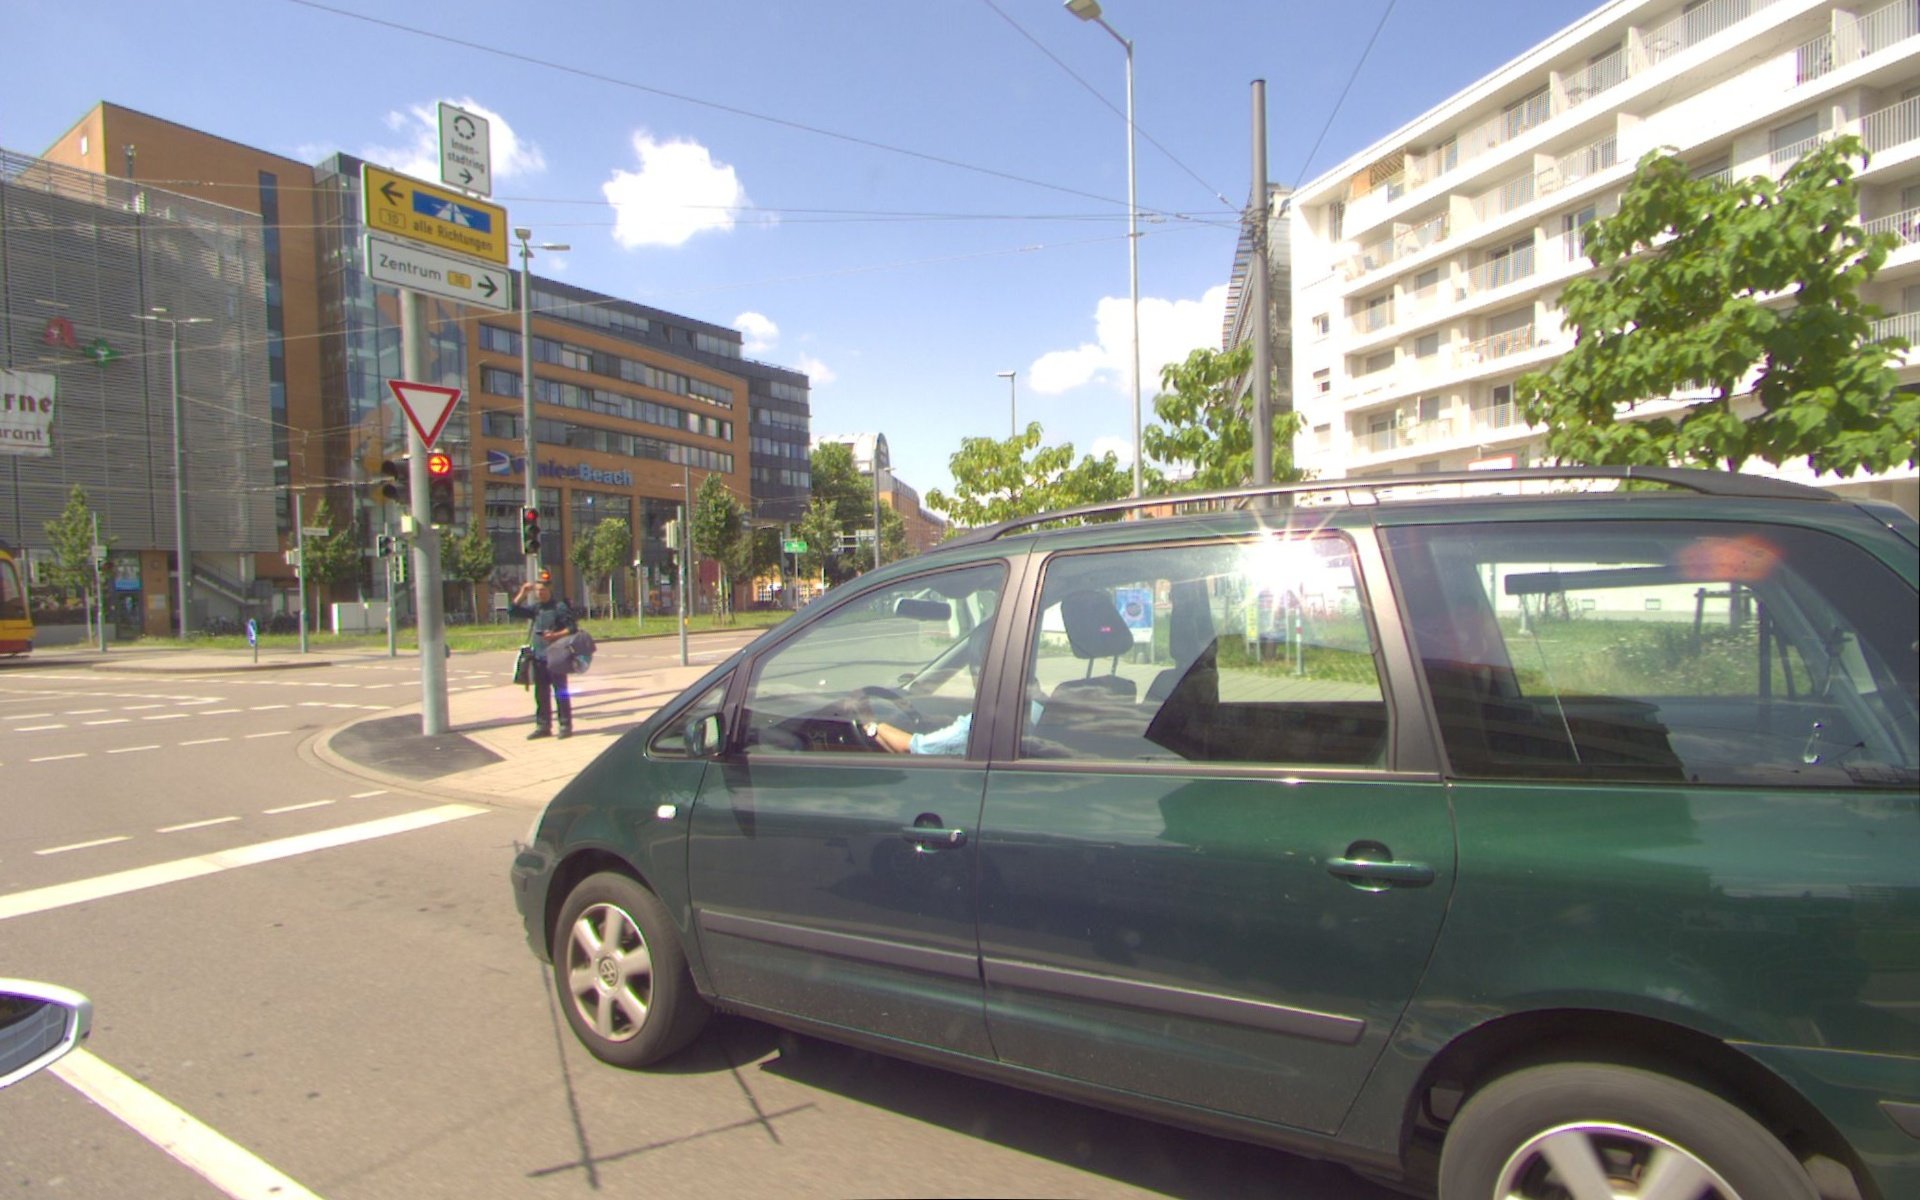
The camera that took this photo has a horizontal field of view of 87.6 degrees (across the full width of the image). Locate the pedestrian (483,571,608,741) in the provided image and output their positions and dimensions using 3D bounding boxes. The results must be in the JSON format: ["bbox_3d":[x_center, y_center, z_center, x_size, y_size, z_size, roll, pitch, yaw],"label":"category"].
[{"bbox_3d":[-4.399,0.573,10.687,0.901,1.726,0.808,-2,2,5],"label":"pedestrian"}]

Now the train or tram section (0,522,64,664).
[{"bbox_3d":[-26.295,-0.196,21.380,3.005,3.669,12.635,0,0,0],"label":"train or tram section"}]

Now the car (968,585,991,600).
[{"bbox_3d":[2.744,-1.014,139.921,1.965,2.041,3.991,-1,1,19],"label":"car"}]

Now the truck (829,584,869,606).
[{"bbox_3d":[-10.772,-0.460,97.420,1.963,2.113,5.516,0,0,16],"label":"truck"}]

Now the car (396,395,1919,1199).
[{"bbox_3d":[0.447,0.596,3.262,4.958,1.779,1.815,-1,0,32],"label":"car"}]
